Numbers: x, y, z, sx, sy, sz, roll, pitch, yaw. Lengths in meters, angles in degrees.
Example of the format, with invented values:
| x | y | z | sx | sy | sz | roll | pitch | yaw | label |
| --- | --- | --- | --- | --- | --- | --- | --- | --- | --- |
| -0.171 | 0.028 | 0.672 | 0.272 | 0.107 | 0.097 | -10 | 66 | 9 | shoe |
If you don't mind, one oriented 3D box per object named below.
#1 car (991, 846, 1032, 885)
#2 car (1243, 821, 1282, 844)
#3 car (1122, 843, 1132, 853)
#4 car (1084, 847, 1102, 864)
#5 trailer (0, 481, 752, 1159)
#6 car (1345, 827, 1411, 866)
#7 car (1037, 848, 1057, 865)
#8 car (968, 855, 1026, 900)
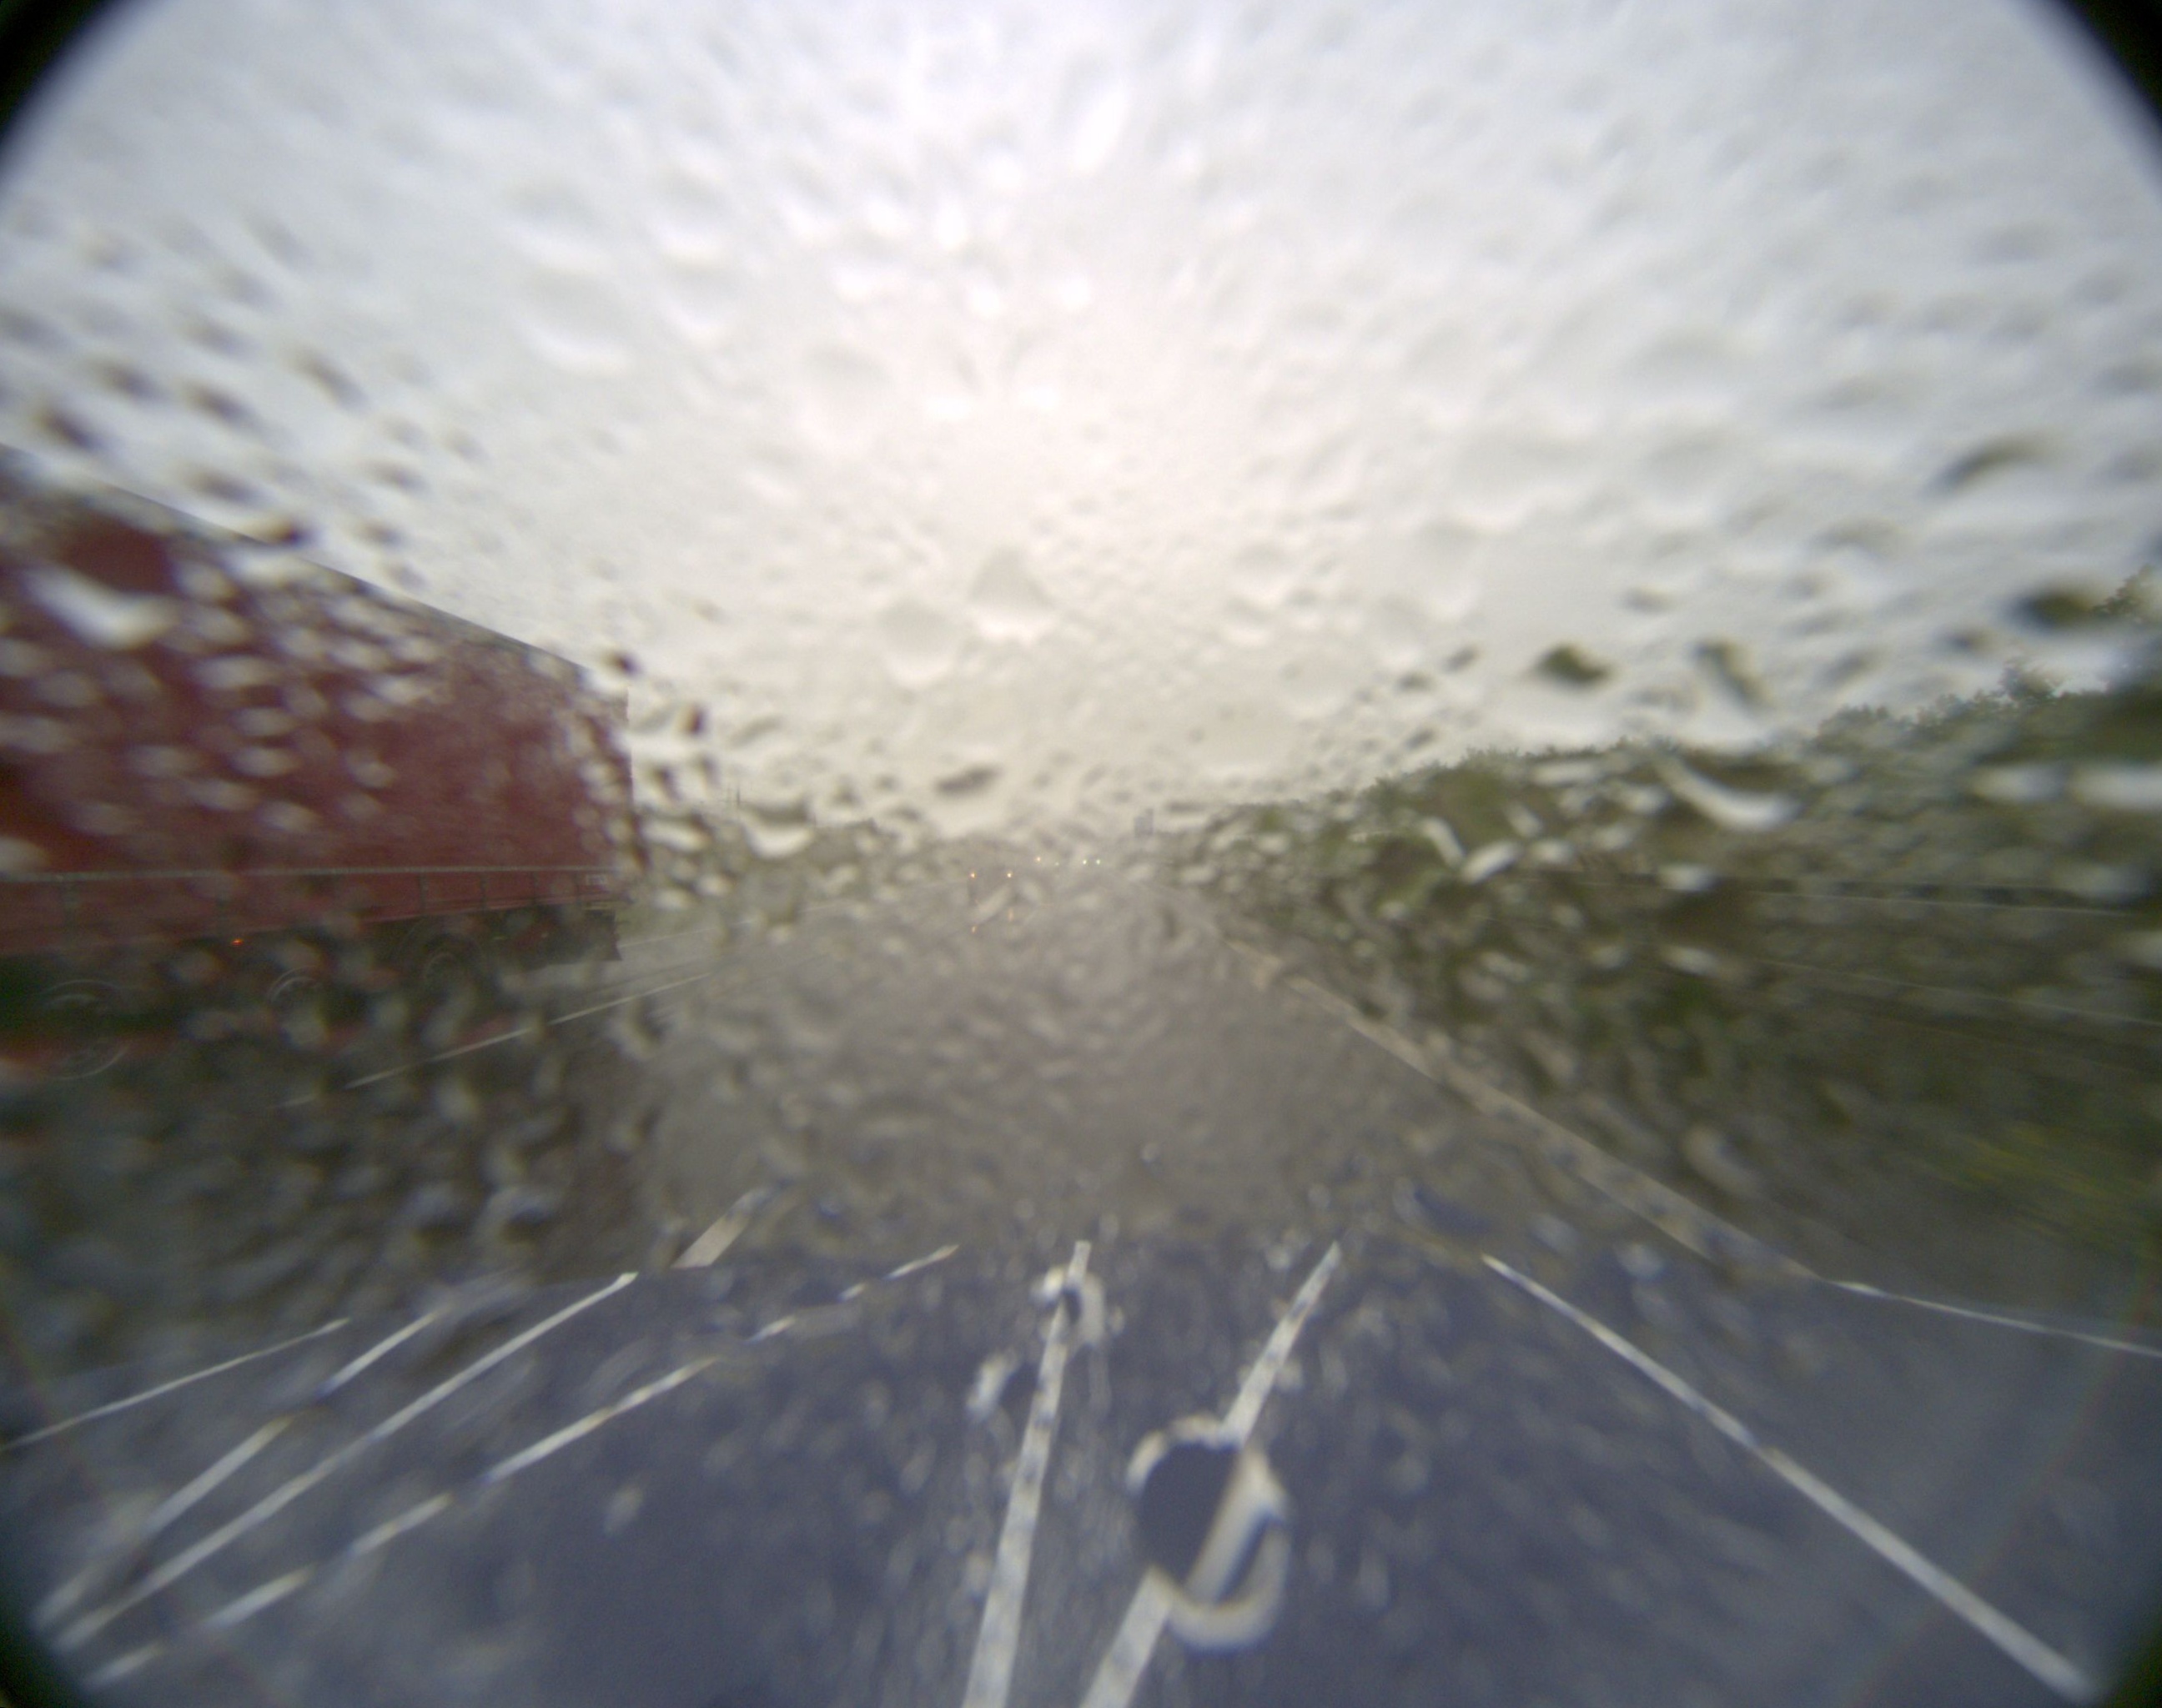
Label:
| x | y | z | sx | sy | sz | roll | pitch | yaw | label |
| --- | --- | --- | --- | --- | --- | --- | --- | --- | --- |
| -3.103 | 0.480 | 34.494 | 1.517 | 1.607 | 3.185 | -2 | 1 | 0 | car |
| 20.725 | -2.447 | 87.006 | 3.077 | 2.375 | 5.836 | -2 | 1 | 1 | car |
| 9.140 | -1.193 | 151.912 | 1.845 | 2.002 | 3.999 | -2 | 1 | 1 | car |
| 1.307 | 0.160 | 82.416 | 1.845 | 1.671 | 3.999 | -2 | 1 | 0 | car |
| -7.198 | -0.173 | 5.248 | 2.486 | 3.744 | 16.541 | -2 | 1 | 0 | trailer |
| 15.906 | -0.407 | 40.876 | 1.833 | 1.912 | 4.367 | -2 | 1 | 1 | car |
| -3.499 | 0.256 | 79.230 | 1.845 | 1.671 | 3.999 | -2 | 1 | 0 | car |
| -3.109 | 0.823 | 28.791 | 1.663 | 1.491 | 3.836 | -2 | 1 | 1 | car |
